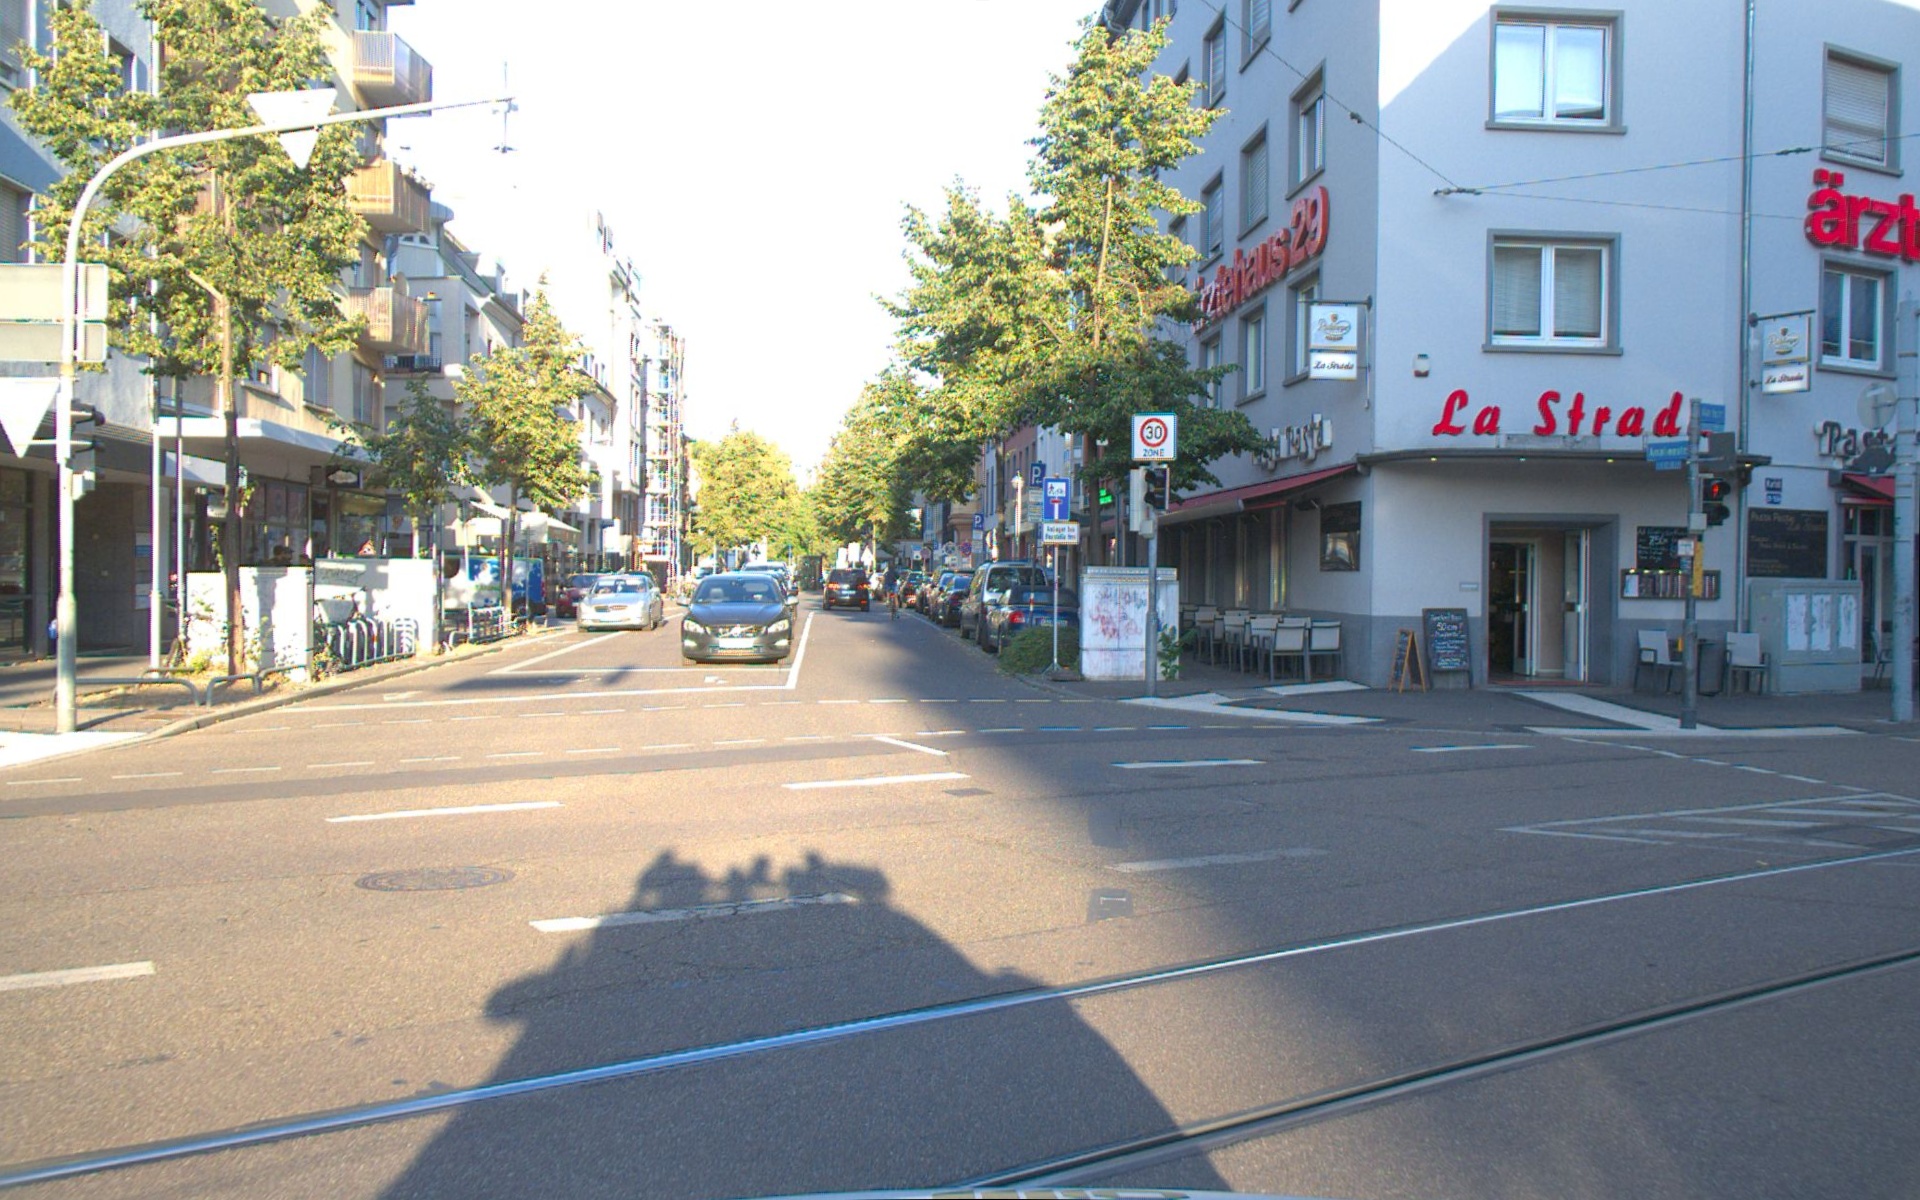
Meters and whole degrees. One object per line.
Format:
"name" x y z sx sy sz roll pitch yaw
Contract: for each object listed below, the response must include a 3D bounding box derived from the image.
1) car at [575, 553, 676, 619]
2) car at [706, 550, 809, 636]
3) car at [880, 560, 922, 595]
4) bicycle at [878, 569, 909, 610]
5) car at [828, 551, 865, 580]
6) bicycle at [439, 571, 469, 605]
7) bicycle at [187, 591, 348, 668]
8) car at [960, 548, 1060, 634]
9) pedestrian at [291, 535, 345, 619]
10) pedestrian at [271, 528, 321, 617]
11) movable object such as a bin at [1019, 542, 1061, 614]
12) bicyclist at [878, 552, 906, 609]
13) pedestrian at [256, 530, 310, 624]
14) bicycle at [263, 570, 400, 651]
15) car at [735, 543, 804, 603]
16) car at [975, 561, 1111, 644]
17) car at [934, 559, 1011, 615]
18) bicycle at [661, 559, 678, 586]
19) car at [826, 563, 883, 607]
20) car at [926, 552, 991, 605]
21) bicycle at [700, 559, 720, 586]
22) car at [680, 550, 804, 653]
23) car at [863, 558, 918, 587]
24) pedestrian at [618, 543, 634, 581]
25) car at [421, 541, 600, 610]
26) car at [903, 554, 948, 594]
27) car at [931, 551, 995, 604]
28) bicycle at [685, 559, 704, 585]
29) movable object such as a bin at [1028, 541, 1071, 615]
"car" -8.572 -0.375 42.704 1.955 1.538 4.505 -2 1 -5
"car" -4.161 -0.169 34.609 1.908 1.673 4.612 0 1 -4
"car" -3.136 -1.190 87.693 1.790 1.724 4.362 2 1 -8
"bicycle" -2.040 -0.332 50.505 0.766 1.225 2.018 0 1 -7
"car" -8.308 -2.481 120.620 2.223 1.796 4.502 6 0 -8
"bicycle" -15.419 -0.382 50.392 0.480 1.009 2.013 2 0 -6
"bicycle" -9.648 0.415 23.087 1.972 1.009 0.490 2 0 -9
"car" 1.078 -0.258 37.817 1.623 1.809 4.005 2 2 -8
"pedestrian" -13.310 -0.482 34.301 0.755 1.705 0.740 2 1 38
"pedestrian" -14.019 -0.581 34.923 0.726 1.850 0.813 0 2 -3
"movable object such as a bin" 2.078 -0.571 43.098 0.819 1.804 1.351 2 0 -8
"bicyclist" -2.070 -0.598 50.410 0.766 1.726 1.006 0 1 -7
"pedestrian" -13.640 -0.473 33.328 0.751 1.879 0.744 1 2 5
"bicycle" -10.081 0.166 26.571 1.970 1.240 0.491 2 0 -5
"car" -5.538 -0.781 48.421 1.903 1.673 4.733 -1 1 -6
"car" 1.493 0.007 31.309 1.900 1.400 4.177 2 1 -6
"car" 0.313 -0.395 47.266 1.719 1.445 4.505 2 1 -5
"bicycle" -15.970 -1.504 90.929 0.708 1.420 3.143 2 1 -13
"car" -4.070 -0.586 64.558 1.953 1.629 4.509 2 1 -1
"car" -0.107 -0.766 59.420 1.847 1.785 5.053 2 1 -6
"bicycle" -13.838 -1.517 91.482 0.877 1.420 3.156 1 1 -13
"car" -3.672 -0.039 28.184 1.921 1.574 4.504 0 2 -7
"car" -3.954 -1.570 93.757 2.913 1.563 1.430 2 0 -9
"pedestrian" -16.094 -1.811 79.771 0.704 1.798 0.692 2 0 -13
"car" -13.236 -0.704 48.752 4.805 1.859 1.984 2 0 -26
"car" -1.575 -1.144 74.551 1.776 1.697 4.202 2 1 -4
"car" 0.044 -0.719 53.221 1.776 1.554 4.991 2 1 -3
"bicycle" -14.667 -1.524 91.269 0.767 1.397 3.132 2 1 -13
"movable object such as a bin" 2.265 -0.553 41.812 0.819 1.804 1.204 2 0 -8
